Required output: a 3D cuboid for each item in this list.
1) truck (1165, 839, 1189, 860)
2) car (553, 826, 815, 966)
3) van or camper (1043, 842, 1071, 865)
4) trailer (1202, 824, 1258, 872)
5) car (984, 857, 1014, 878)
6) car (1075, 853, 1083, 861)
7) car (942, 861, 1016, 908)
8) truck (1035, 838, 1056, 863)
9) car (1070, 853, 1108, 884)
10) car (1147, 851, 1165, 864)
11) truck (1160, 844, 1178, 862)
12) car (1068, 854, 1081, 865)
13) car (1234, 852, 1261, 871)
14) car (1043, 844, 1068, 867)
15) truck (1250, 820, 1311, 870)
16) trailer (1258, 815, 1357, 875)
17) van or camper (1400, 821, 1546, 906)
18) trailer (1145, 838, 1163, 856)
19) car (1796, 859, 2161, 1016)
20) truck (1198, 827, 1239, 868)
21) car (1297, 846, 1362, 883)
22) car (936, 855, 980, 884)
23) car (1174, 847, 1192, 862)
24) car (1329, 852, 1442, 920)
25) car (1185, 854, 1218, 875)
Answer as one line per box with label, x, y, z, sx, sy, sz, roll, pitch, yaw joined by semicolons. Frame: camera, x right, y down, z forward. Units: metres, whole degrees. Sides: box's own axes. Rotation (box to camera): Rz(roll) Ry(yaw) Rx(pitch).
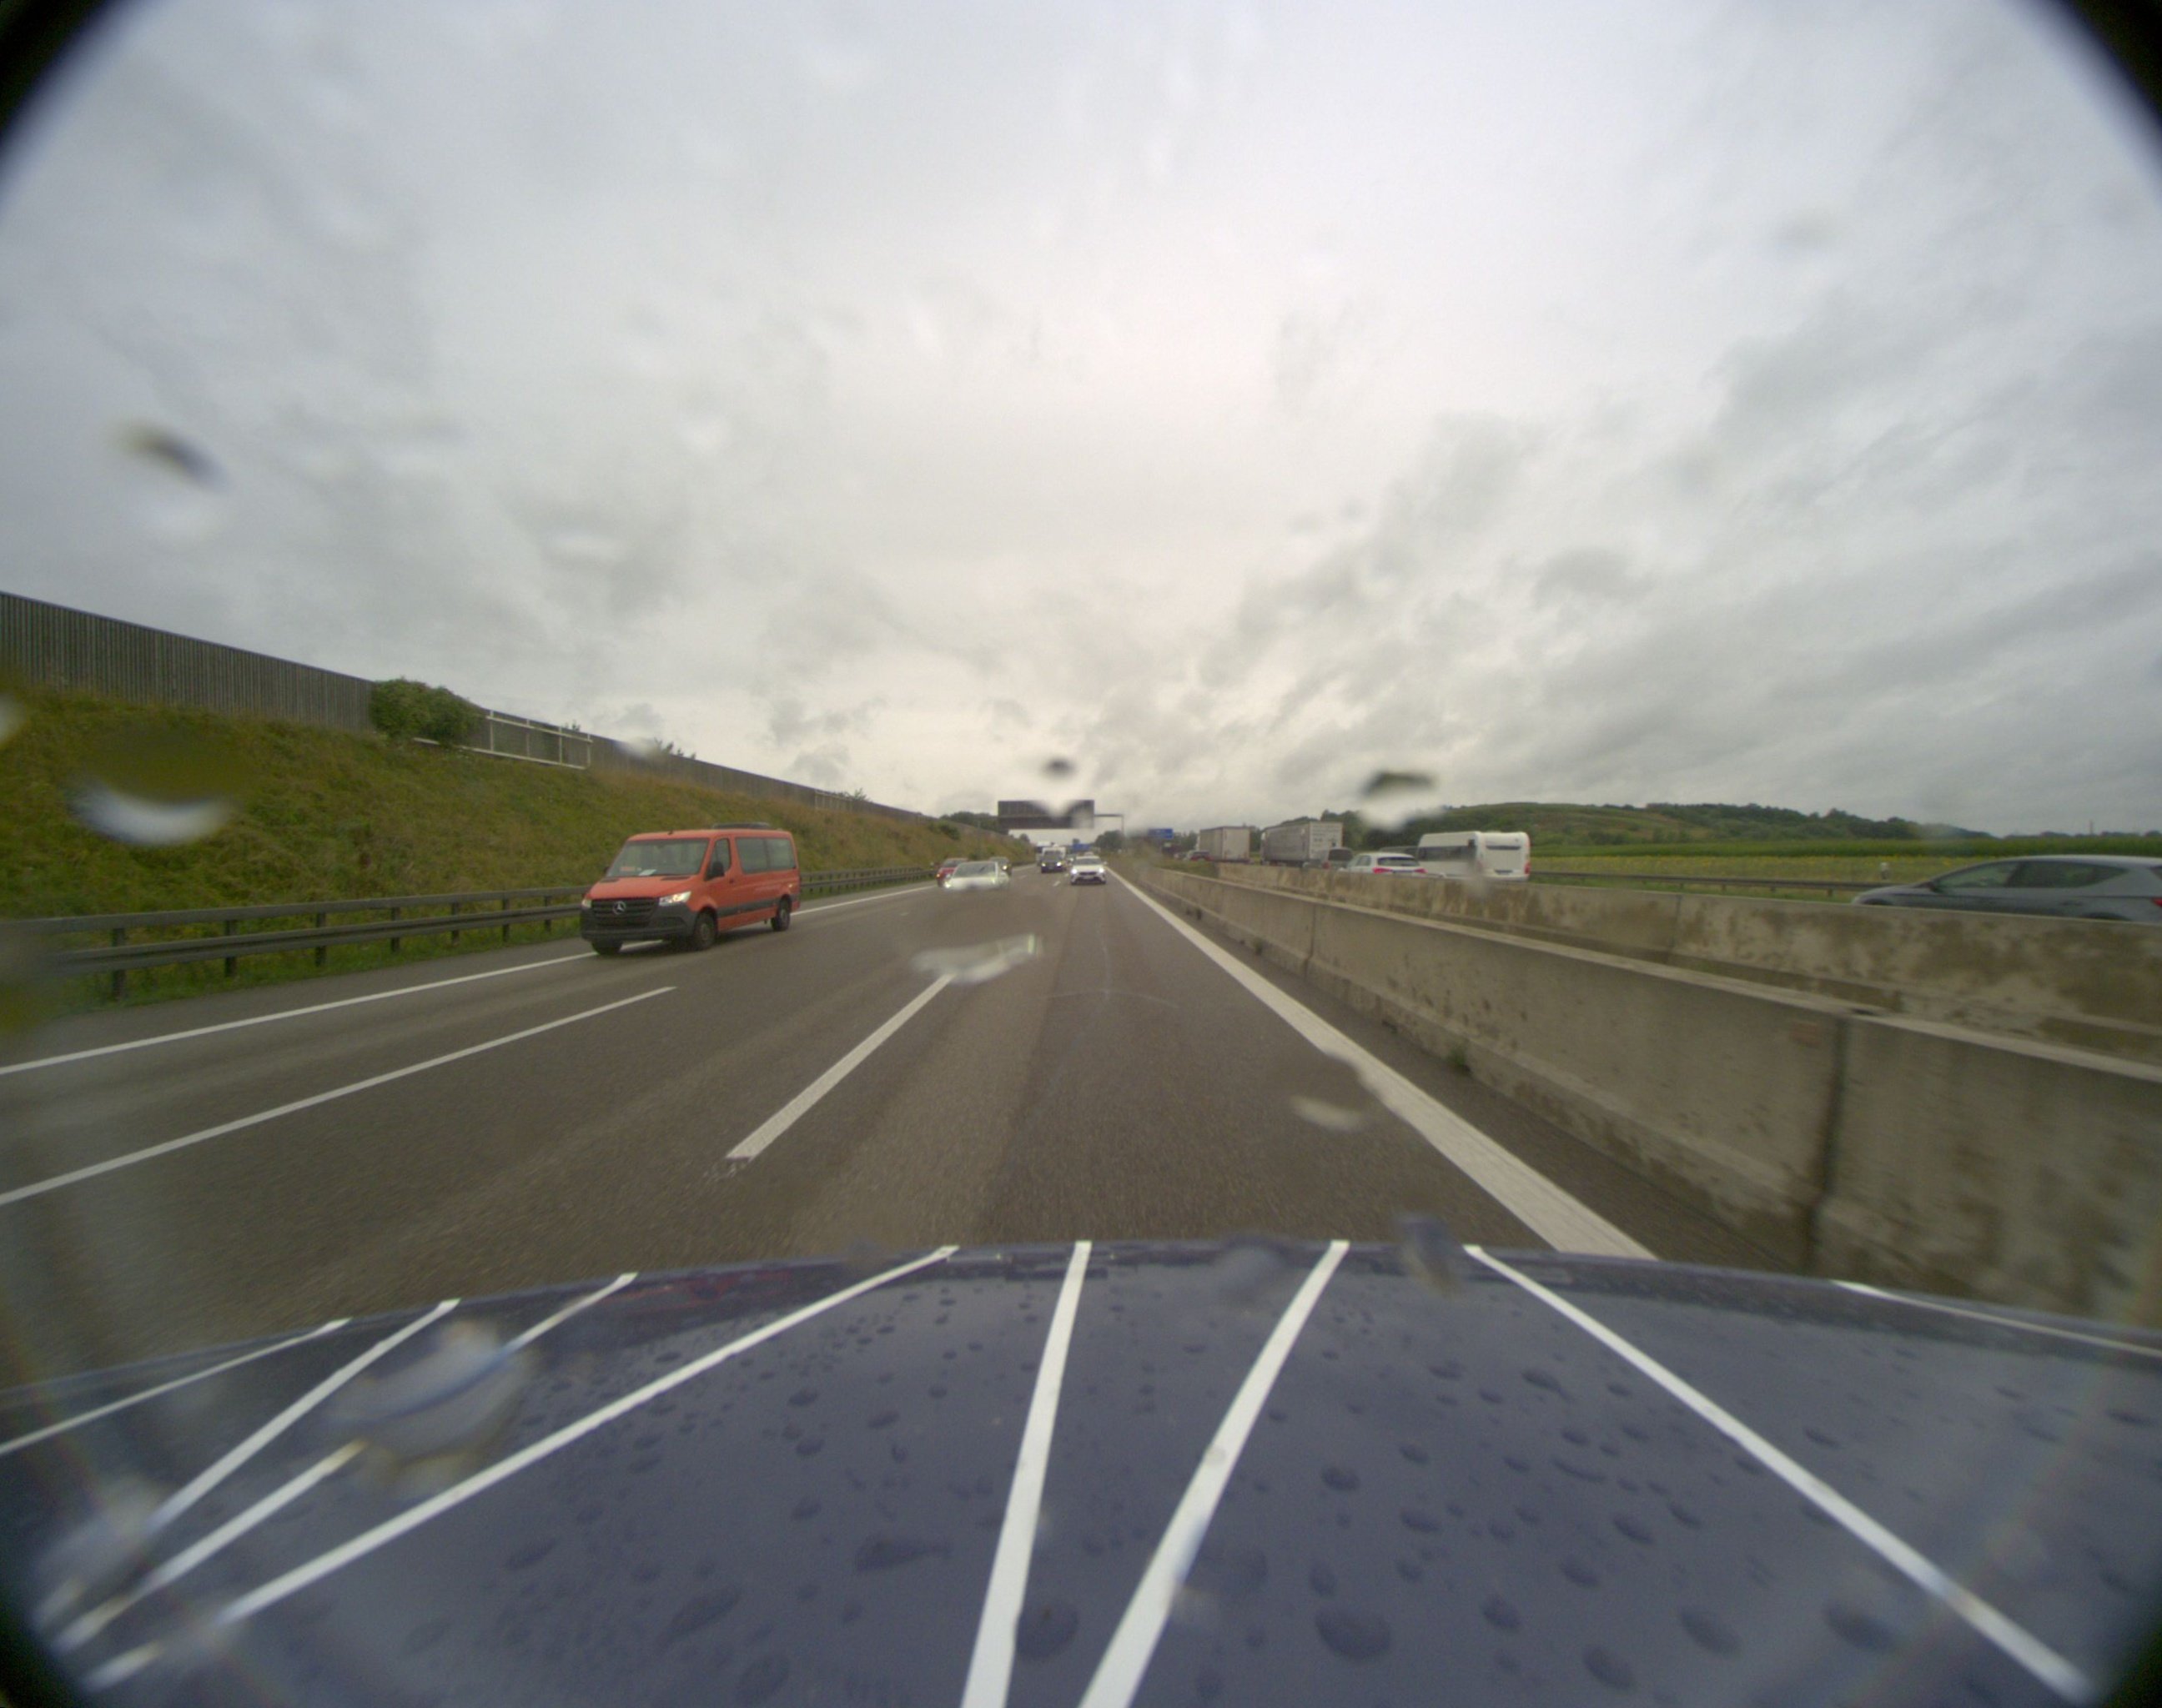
truck;21.128;-1.016;167.539;3.521;4.458;11.784;-3;1;-1
car;-7.786;0.697;15.921;2.091;2.301;6.181;-2;0;1
van or camper;-2.413;-0.126;76.874;2.432;2.139;6.497;-3;1;1
trailer;14.212;-0.629;73.514;3.093;4.065;12.328;-3;1;1
car;-6.650;1.105;62.281;1.929;1.480;4.485;-3;1;0
car;-0.501;0.736;194.949;1.998;1.696;4.000;-3;1;1
car;-3.512;1.005;26.954;1.878;1.355;4.812;-3;1;0
truck;-6.034;-0.685;130.166;3.090;4.003;6.955;-3;1;-1
car;0.444;0.733;40.113;1.840;1.455;3.999;-3;1;1
car;10.140;0.462;102.710;2.098;1.700;4.800;-2;0;2
truck;15.548;-0.188;134.308;2.317;2.892;7.423;-3;1;1
car;-0.995;0.864;123.190;1.999;1.759;3.999;-1;0;-2
car;18.168;0.761;83.030;1.998;2.002;4.621;-1;0;1
car;-2.392;0.136;71.413;1.998;2.002;4.937;-3;1;1
truck;18.537;-0.821;71.153;3.624;4.250;7.590;-3;1;1
trailer;18.399;-0.753;63.500;3.722;4.246;15.622;-3;1;1
van or camper;18.210;0.339;36.041;2.716;3.483;7.698;-3;1;-1
trailer;19.645;-1.886;205.709;3.396;4.741;11.680;-3;0;0
car;13.449;0.972;10.795;2.066;1.700;4.799;-2;0;1
truck;14.361;-0.672;79.820;3.100;3.953;6.371;-3;1;1
car;13.605;0.520;41.953;1.888;1.913;5.278;-1;0;1
car;-7.277;0.887;45.207;1.878;1.526;3.999;-3;1;0
car;14.849;0.048;110.648;1.998;2.002;4.360;-1;0;1
car;9.410;0.921;23.867;1.888;1.913;4.173;-1;0;1
car;10.135;0.852;64.286;1.998;1.754;5.071;0;0;1
